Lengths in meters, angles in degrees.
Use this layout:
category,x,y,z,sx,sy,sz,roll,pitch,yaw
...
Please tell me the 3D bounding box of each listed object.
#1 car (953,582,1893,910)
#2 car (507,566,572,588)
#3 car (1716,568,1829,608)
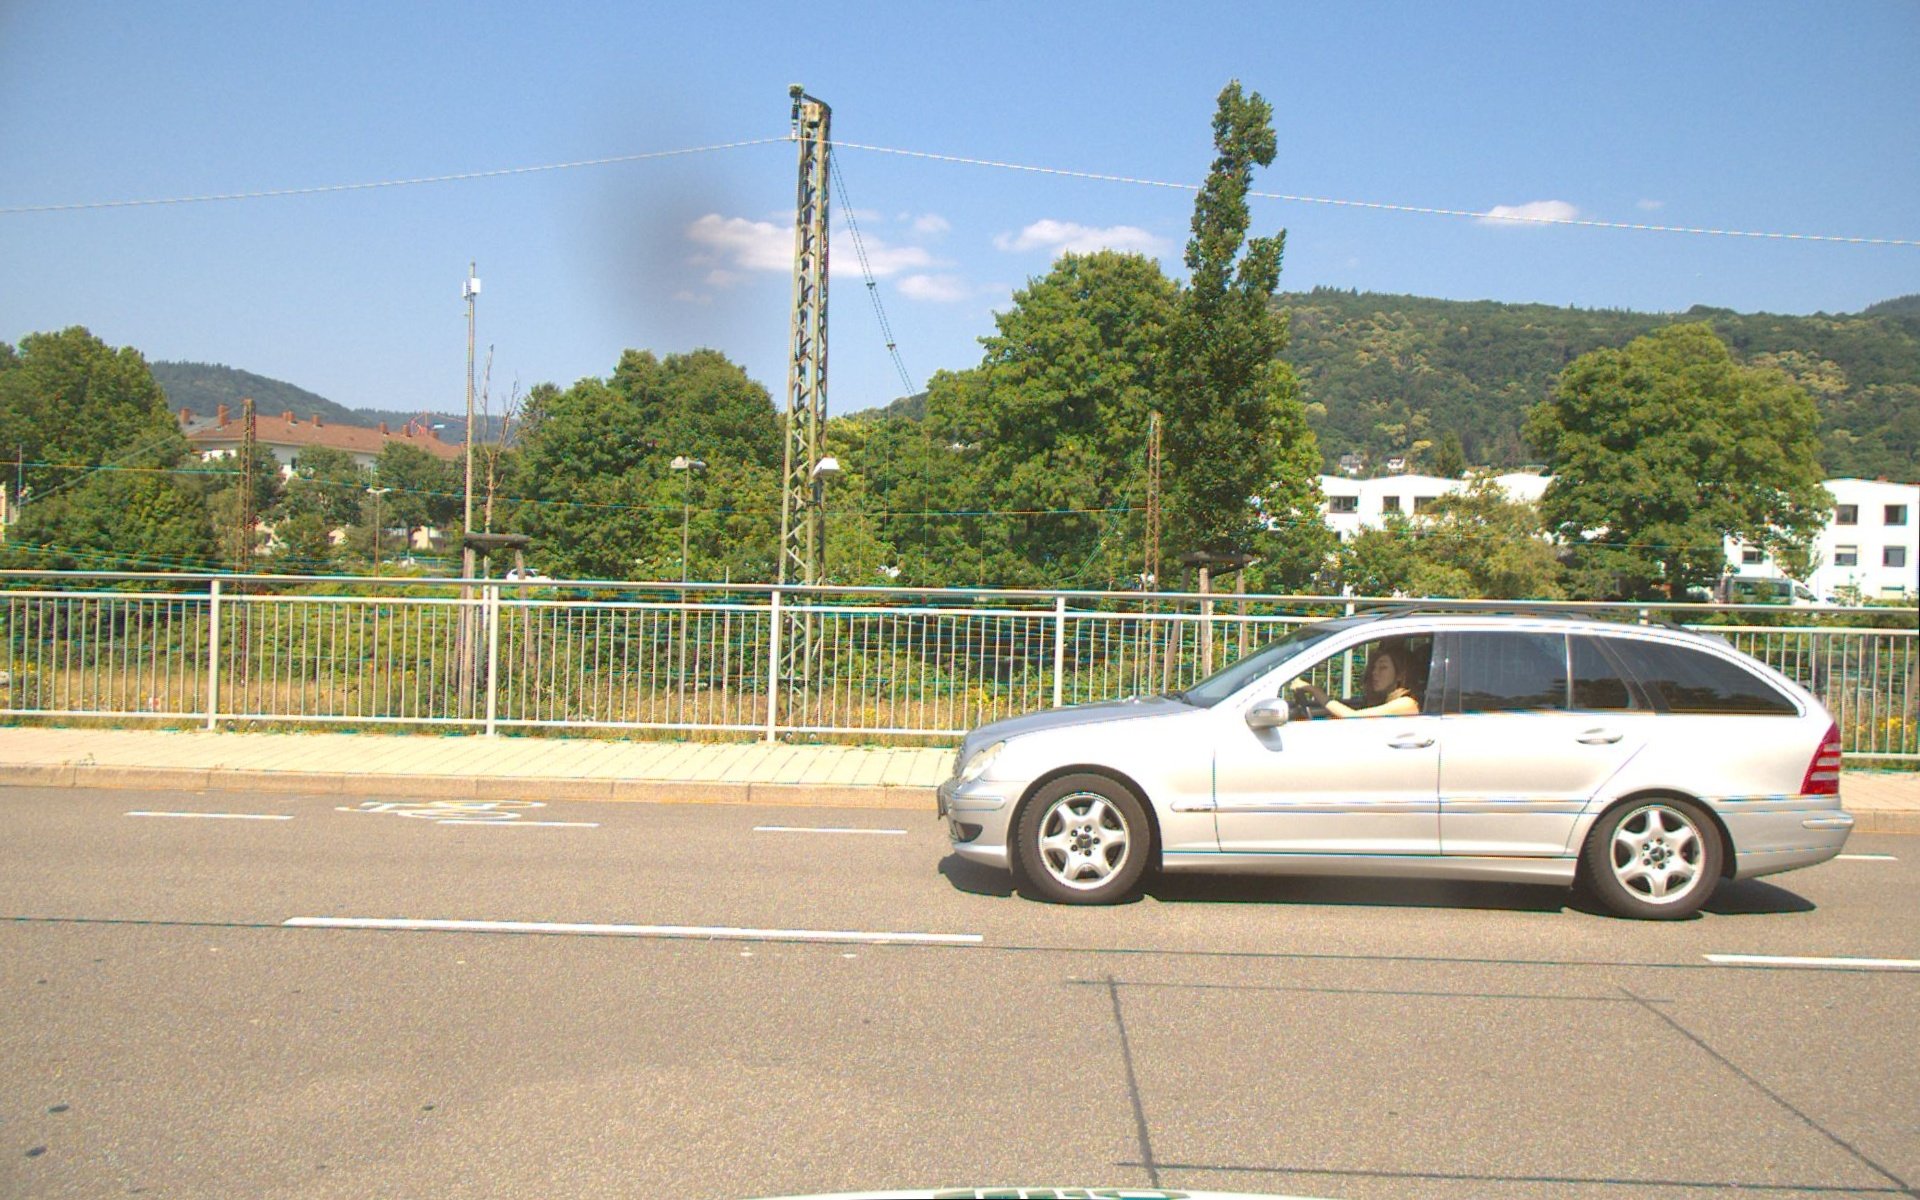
category,x,y,z,sx,sy,sz,roll,pitch,yaw
car,2.146,0.672,8.468,4.281,1.428,1.714,1,-1,2
car,-28.547,-1.560,112.343,4.223,1.391,1.862,1,1,31
car,46.588,-0.663,94.956,5.383,2.140,2.136,0,-4,12
